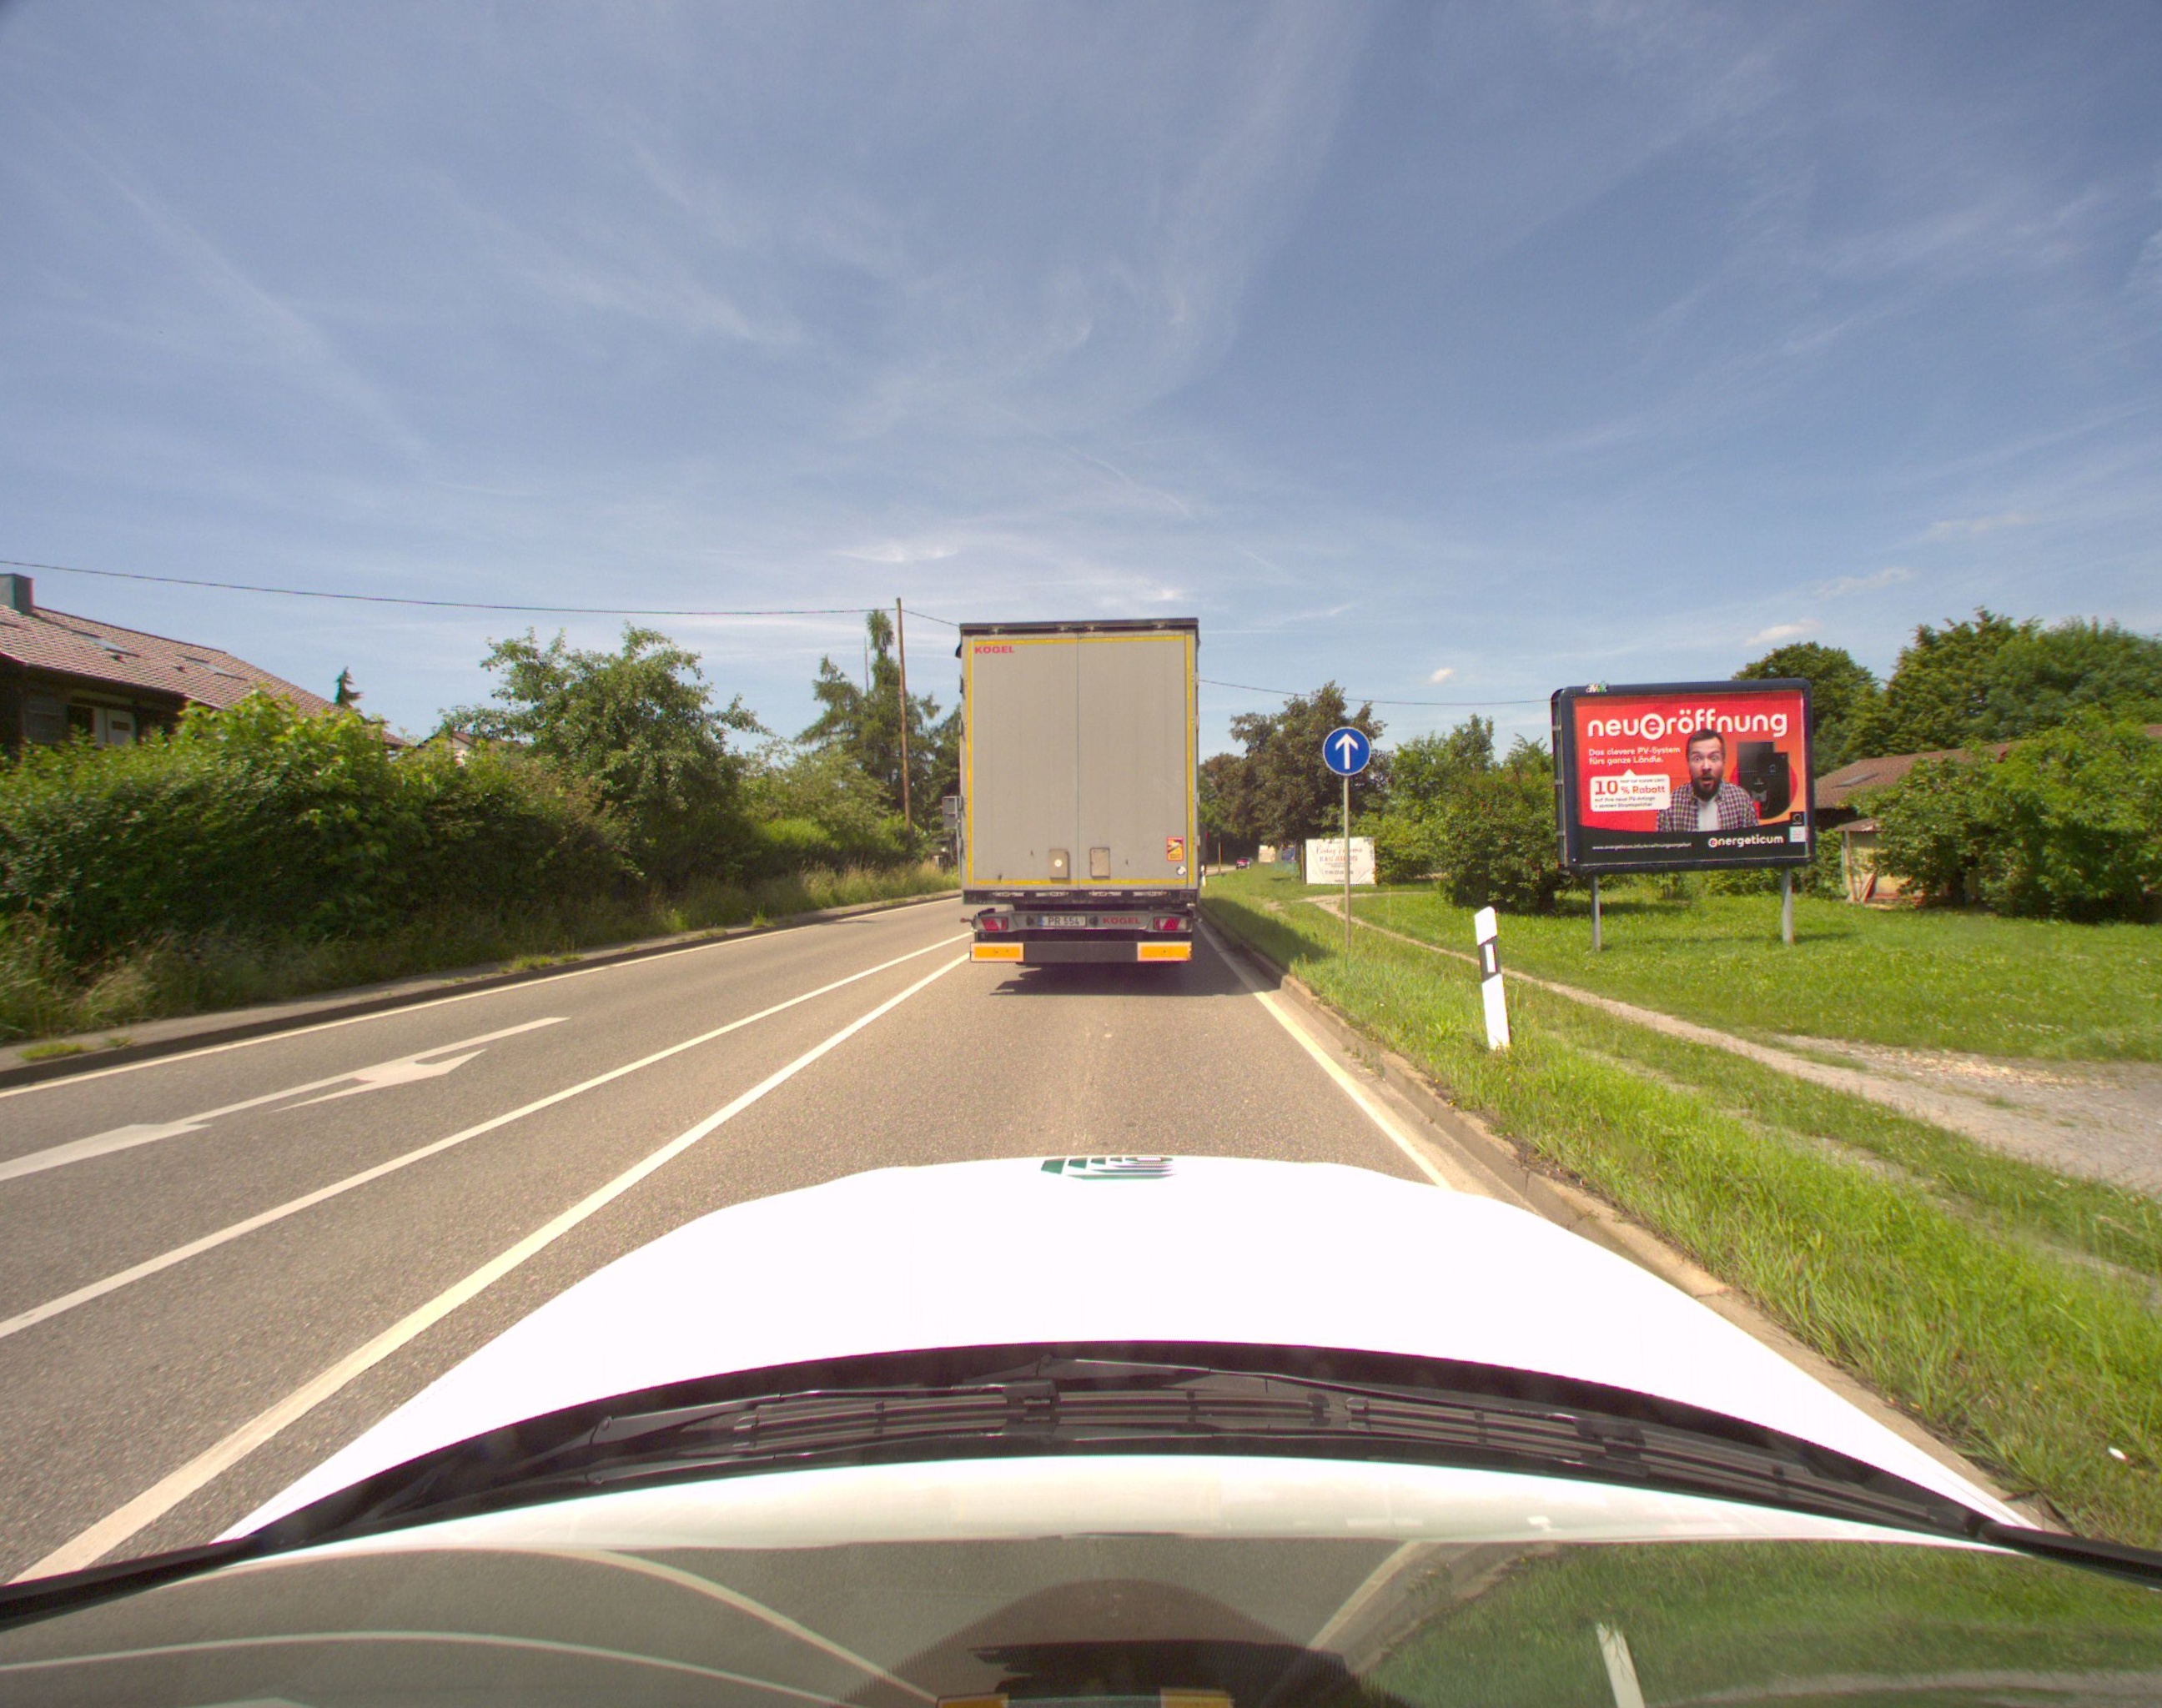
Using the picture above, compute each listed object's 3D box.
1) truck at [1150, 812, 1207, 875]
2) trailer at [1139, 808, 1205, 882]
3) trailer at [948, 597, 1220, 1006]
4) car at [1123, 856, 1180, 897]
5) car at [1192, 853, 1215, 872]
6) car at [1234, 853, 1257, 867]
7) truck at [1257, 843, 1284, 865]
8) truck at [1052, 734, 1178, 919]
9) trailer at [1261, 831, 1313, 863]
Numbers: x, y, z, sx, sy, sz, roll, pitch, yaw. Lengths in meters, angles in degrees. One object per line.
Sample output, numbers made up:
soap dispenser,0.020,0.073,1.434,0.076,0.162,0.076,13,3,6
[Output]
truck,7.732,-0.731,63.628,3.912,4.574,7.172,-1,0,10
trailer,6.582,-0.621,56.890,3.868,4.520,12.746,-1,0,9
trailer,0.487,-0.580,14.499,2.774,4.205,12.126,-1,0,4
car,2.904,0.858,32.952,1.982,1.530,4.010,0,0,9
car,13.180,0.899,87.620,1.979,1.837,4.016,-1,0,14
car,19.642,0.698,97.064,1.825,1.486,4.023,-1,0,24
truck,25.188,-0.002,108.234,2.399,2.838,5.443,-1,0,24
truck,1.126,-0.635,21.564,2.731,4.165,6.156,-1,0,8
trailer,31.519,-1.084,123.741,5.133,4.628,15.984,-1,0,23
